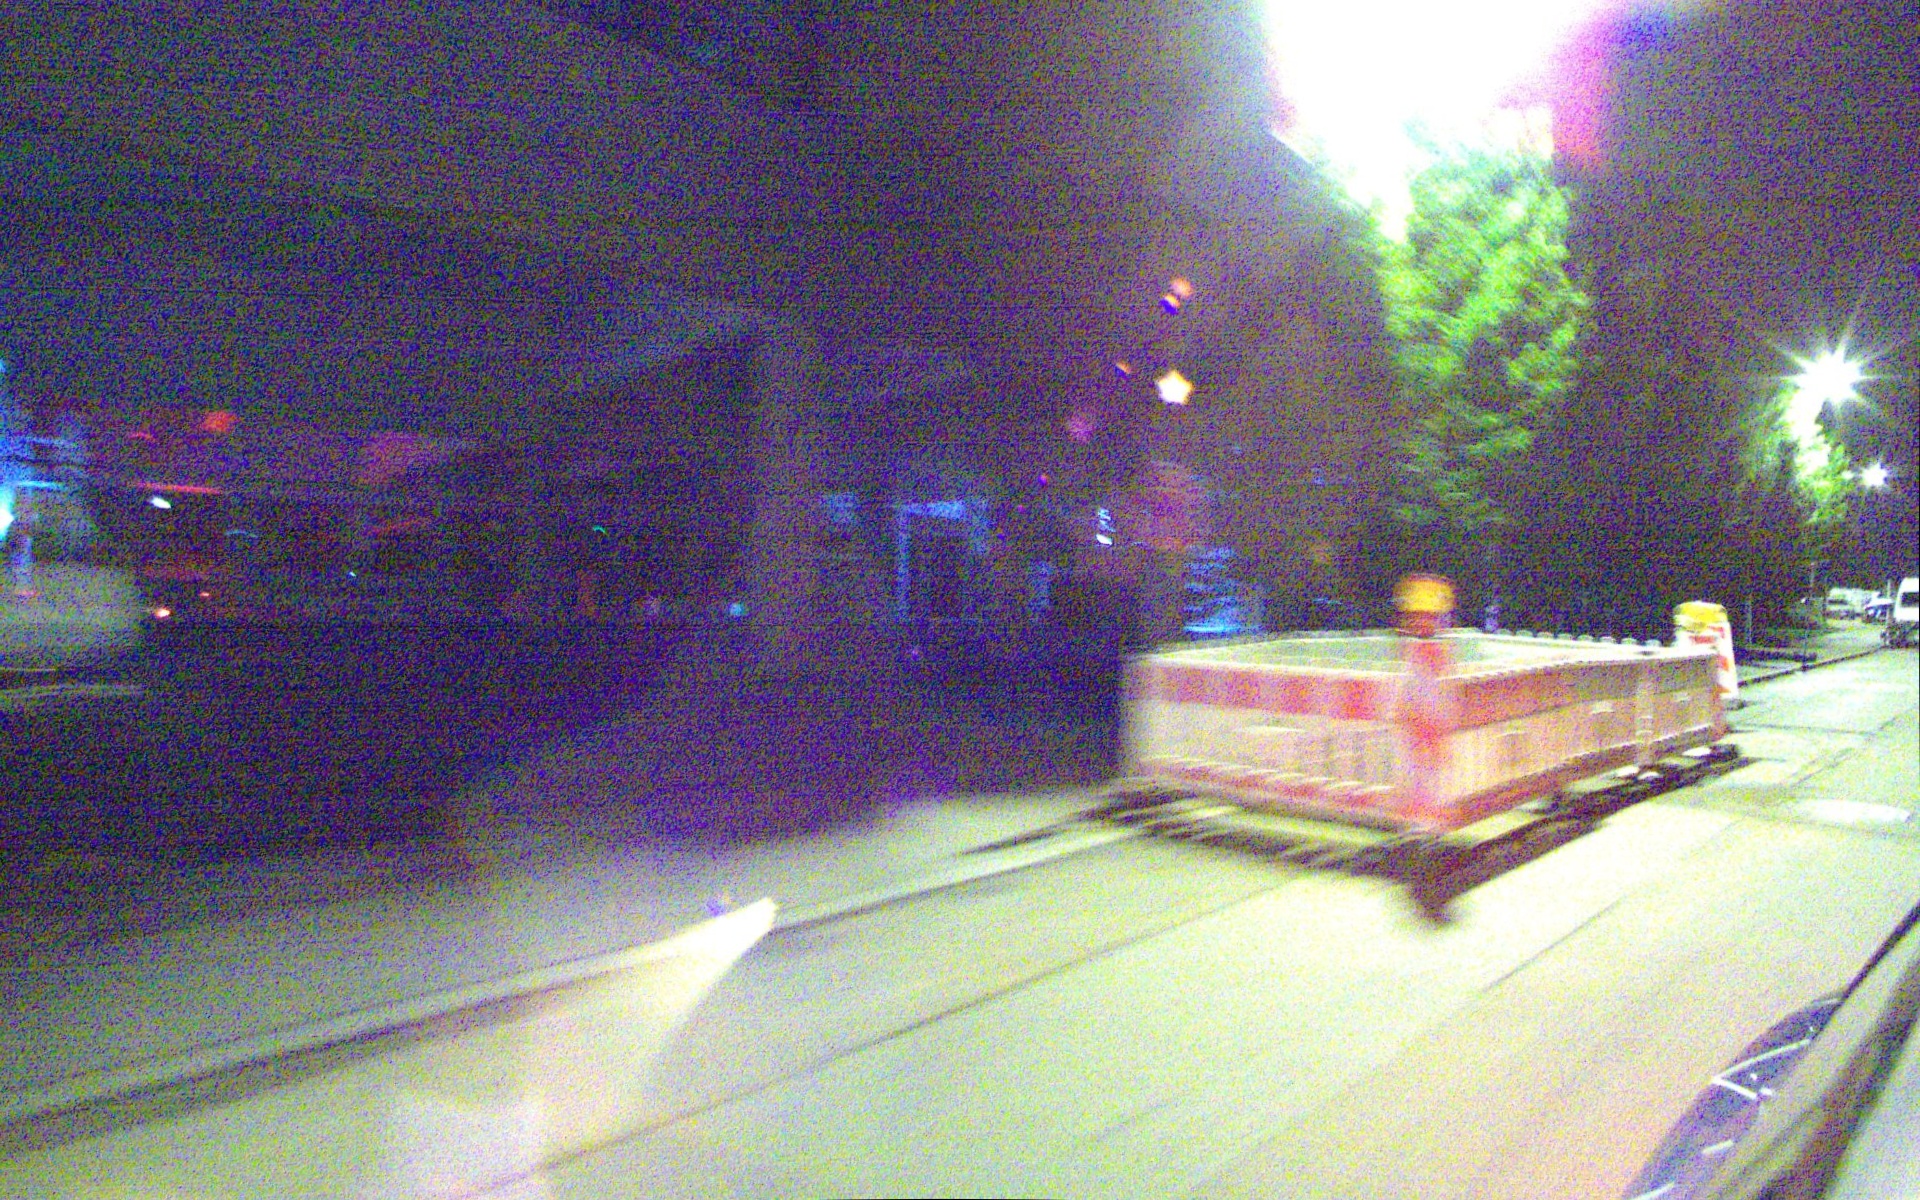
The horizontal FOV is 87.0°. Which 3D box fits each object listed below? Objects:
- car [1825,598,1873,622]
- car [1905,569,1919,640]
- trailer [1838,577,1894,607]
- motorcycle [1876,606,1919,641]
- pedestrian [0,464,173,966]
[{"bbox_3d":[77.652,0.823,88.495,1.982,2.039,5.299,-1,-1,29],"label":"car"},{"bbox_3d":[37.035,0.143,37.815,5.948,2.559,2.023,0,0,-42],"label":"car"},{"bbox_3d":[96.731,-0.870,108.201,2.467,3.111,7.879,1,1,27],"label":"trailer"},{"bbox_3d":[33.636,0.811,35.500,0.752,1.198,2.189,0,0,-10],"label":"motorcycle"},{"bbox_3d":[-3.674,0.419,4.041,0.805,1.875,0.571,0,2,-41],"label":"pedestrian"}]
